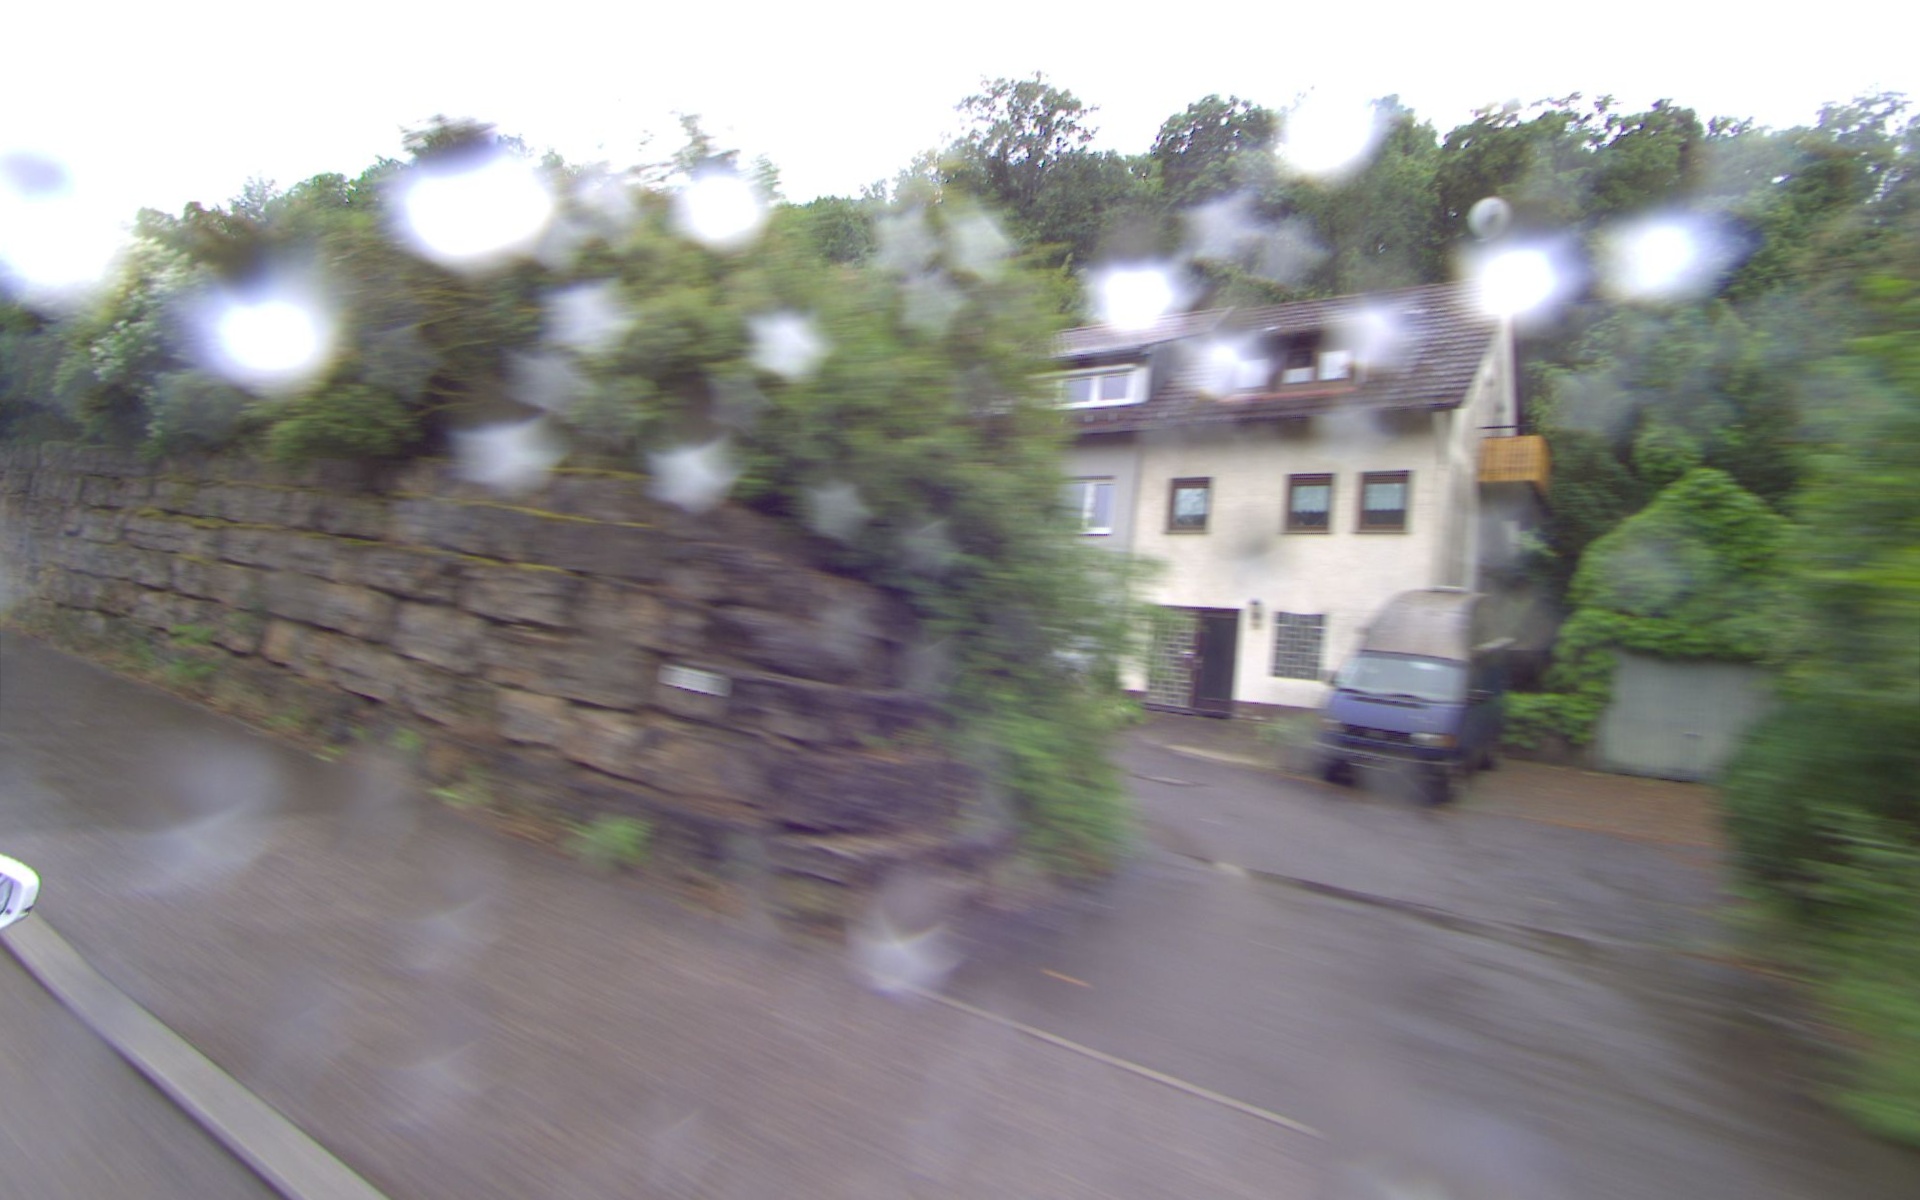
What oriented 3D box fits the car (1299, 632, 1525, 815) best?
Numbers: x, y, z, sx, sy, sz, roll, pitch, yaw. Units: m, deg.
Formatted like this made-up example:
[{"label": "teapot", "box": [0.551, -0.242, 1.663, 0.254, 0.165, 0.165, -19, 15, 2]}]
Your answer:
[{"label": "car", "box": [6.685, 1.580, 14.578, 1.787, 1.925, 4.654, 5, 4, 38]}]
